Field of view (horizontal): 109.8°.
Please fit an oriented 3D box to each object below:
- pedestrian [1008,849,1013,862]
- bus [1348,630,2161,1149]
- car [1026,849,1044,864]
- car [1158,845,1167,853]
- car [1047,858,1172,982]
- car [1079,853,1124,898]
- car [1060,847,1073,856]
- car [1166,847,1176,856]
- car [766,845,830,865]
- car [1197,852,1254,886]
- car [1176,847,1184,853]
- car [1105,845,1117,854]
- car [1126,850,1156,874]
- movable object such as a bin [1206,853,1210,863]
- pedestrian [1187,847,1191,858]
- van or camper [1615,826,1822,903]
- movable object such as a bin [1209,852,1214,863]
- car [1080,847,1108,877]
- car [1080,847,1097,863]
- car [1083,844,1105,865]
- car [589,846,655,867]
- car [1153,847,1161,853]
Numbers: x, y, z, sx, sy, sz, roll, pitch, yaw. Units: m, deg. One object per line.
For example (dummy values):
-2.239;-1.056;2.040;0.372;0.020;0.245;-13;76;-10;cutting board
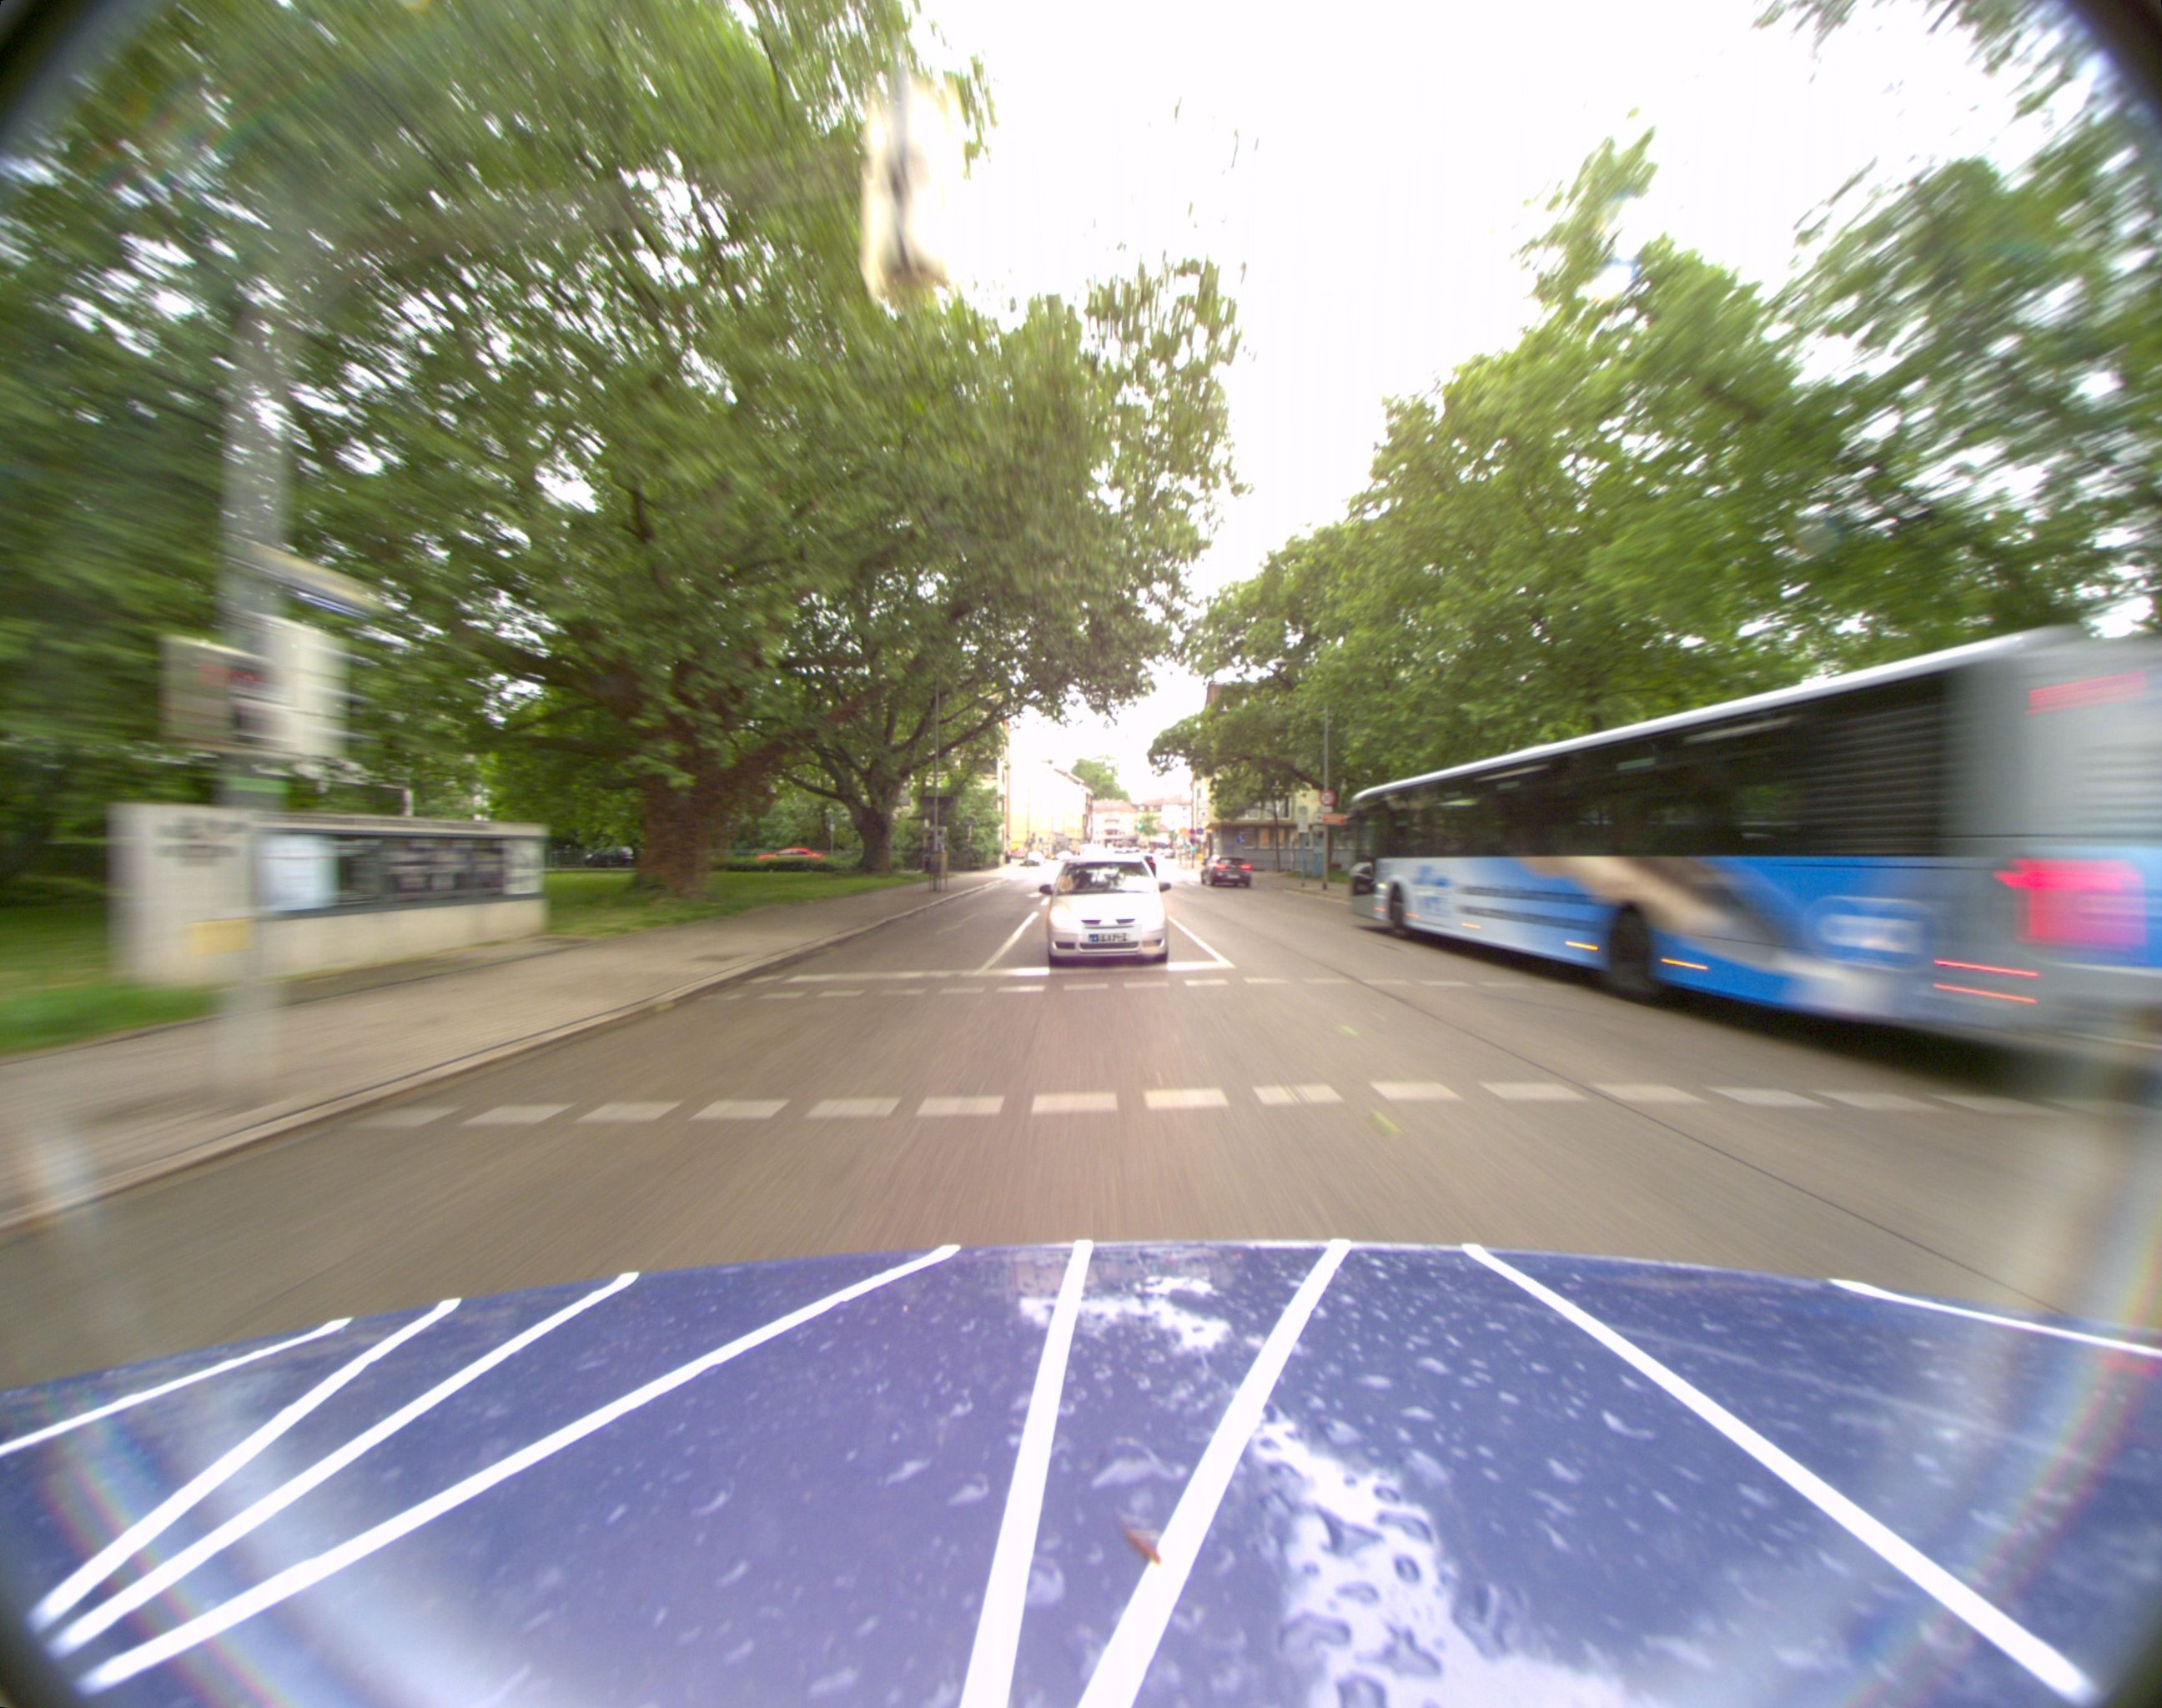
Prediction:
-7.769;0.172;84.270;0.480;1.521;0.481;1;1;0;pedestrian
7.022;0.142;10.208;2.773;2.957;11.779;0;1;0;bus
-5.014;0.259;83.323;1.681;1.424;3.681;3;1;0;car
21.143;-1.267;197.447;1.998;1.841;4.001;1;1;4;car
0.384;0.862;11.418;1.576;1.514;3.240;-1;1;1;car
0.803;0.752;28.834;1.590;1.540;3.771;1;1;2;car
-2.116;-0.386;113.735;1.802;1.434;3.896;1;1;0;car
17.817;-0.462;150.775;1.889;1.707;4.001;1;1;4;car
-19.057;0.078;51.338;3.792;1.271;1.575;1;1;-8;car
6.698;0.661;35.575;1.813;1.409;4.030;2;0;-1;car
25.586;-1.035;195.894;1.867;1.648;4.001;1;1;4;car
4.699;-0.675;118.622;1.701;1.434;3.896;1;1;0;car
3.670;0.470;46.801;1.628;1.407;3.454;1;1;1;car
13.045;0.412;78.161;0.338;1.023;0.353;1;1;8;movable object such as a bin
18.375;-0.287;129.099;0.594;1.833;0.565;1;1;8;pedestrian
18.968;0.279;22.778;4.494;2.157;2.047;1;1;-2;van or camper
13.426;0.360;78.140;0.415;1.023;0.353;1;1;8;movable object such as a bin
0.728;0.449;45.071;1.584;1.706;3.648;1;1;0;car
0.814;0.110;90.155;1.935;1.817;3.999;1;0;0;car
1.193;0.011;69.686;1.935;1.817;3.999;0;1;0;car
-30.341;0.156;50.320;3.468;1.271;1.448;1;1;-5;car
19.261;-0.990;192.034;1.998;1.631;4.001;1;1;4;car
